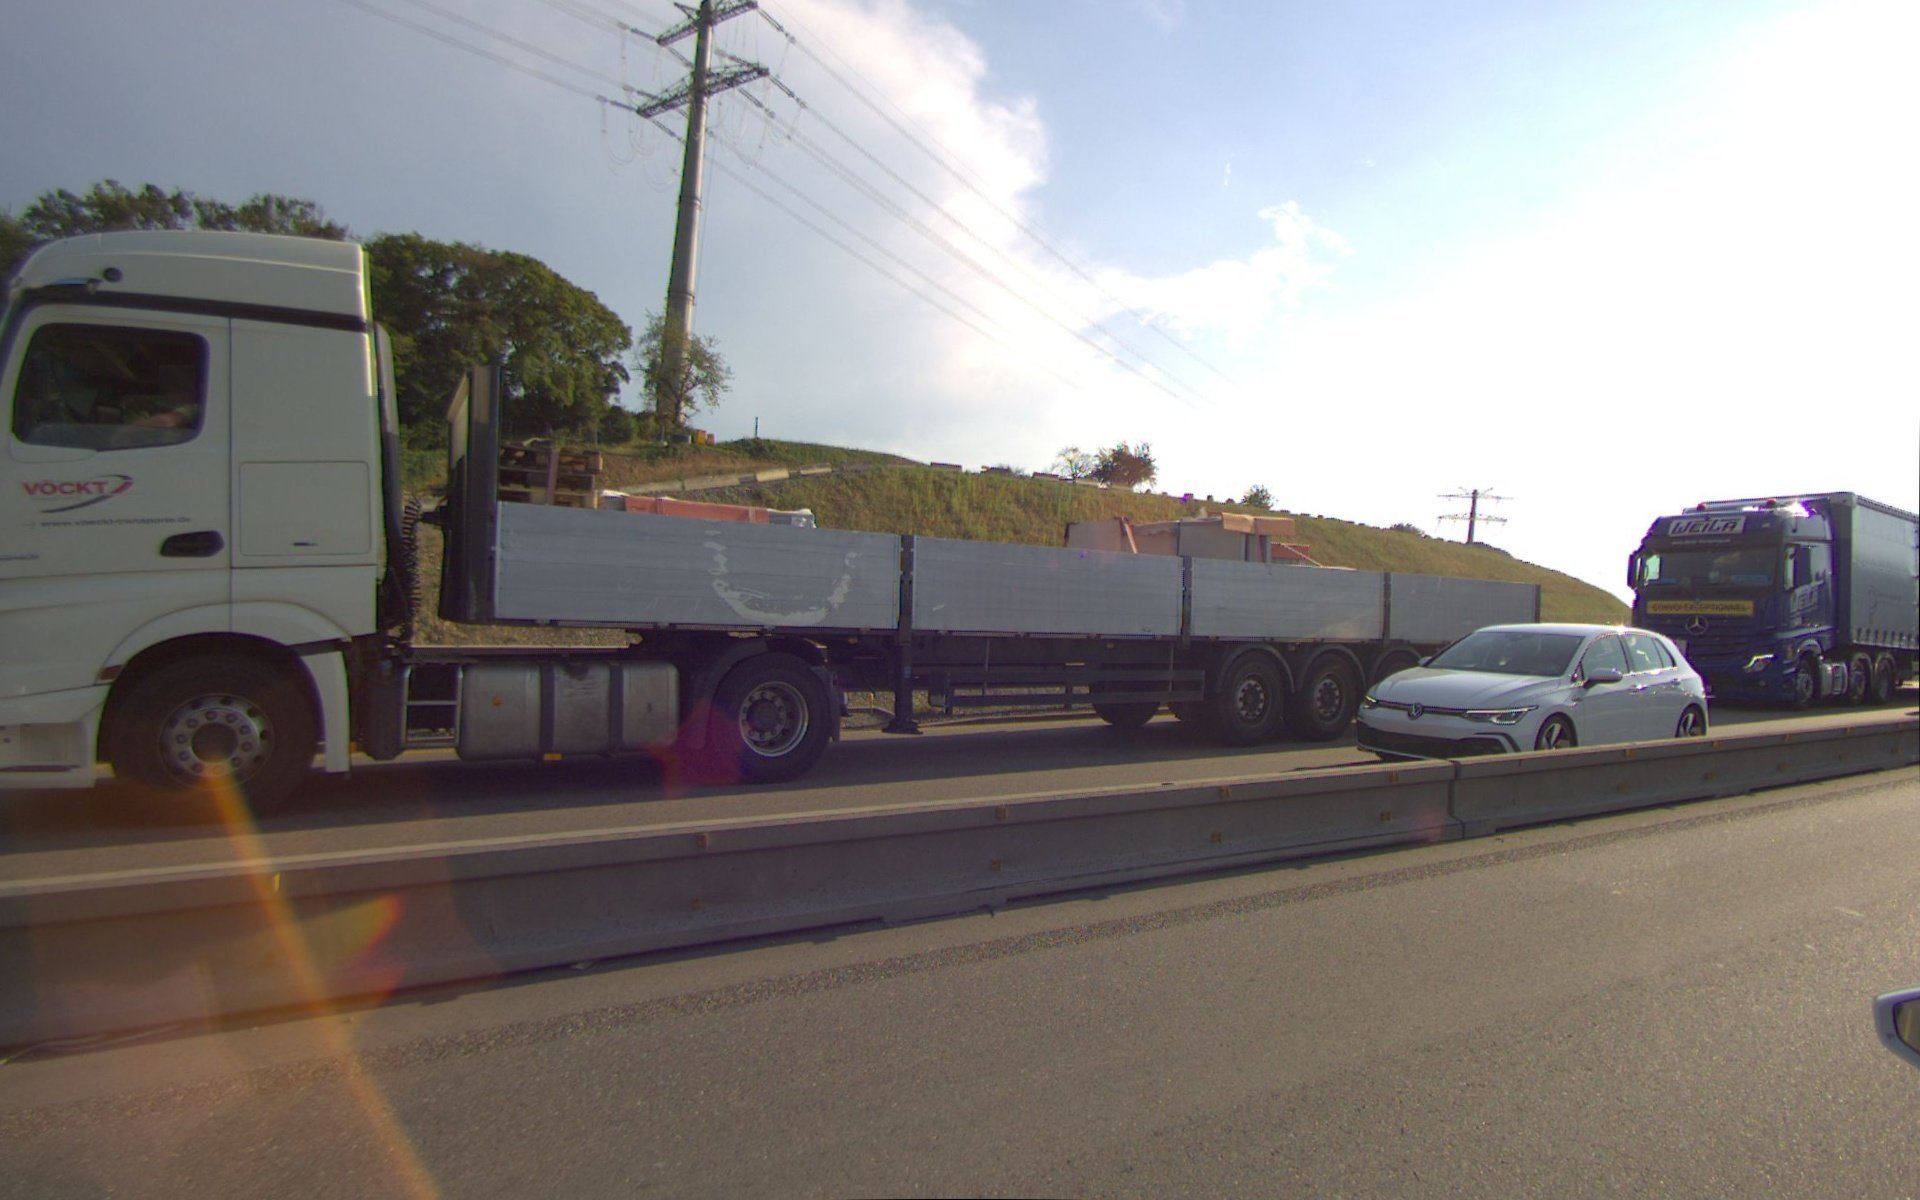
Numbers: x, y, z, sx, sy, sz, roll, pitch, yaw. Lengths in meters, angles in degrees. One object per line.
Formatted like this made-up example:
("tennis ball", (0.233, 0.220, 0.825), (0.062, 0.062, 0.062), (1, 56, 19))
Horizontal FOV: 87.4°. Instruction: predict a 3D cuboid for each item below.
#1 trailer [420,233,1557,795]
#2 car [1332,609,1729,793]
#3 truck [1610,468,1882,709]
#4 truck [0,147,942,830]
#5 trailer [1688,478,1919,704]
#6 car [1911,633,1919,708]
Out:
("trailer", (1.781, -0.370, 11.454), (13.821, 3.774, 2.506), (2, -1, -32))
("car", (5.925, 0.921, 10.301), (4.207, 1.528, 1.749), (2, -1, -32))
("truck", (15.550, -0.113, 19.791), (5.603, 4.119, 2.489), (2, -1, -33))
("truck", (-3.607, -0.536, 8.129), (6.441, 3.804, 2.588), (2, -1, -30))
("trailer", (21.587, 0.054, 23.588), (14.446, 4.185, 2.293), (2, -1, -33))
("car", (20.390, 1.394, 19.406), (4.714, 1.396, 1.750), (2, -1, -31))
